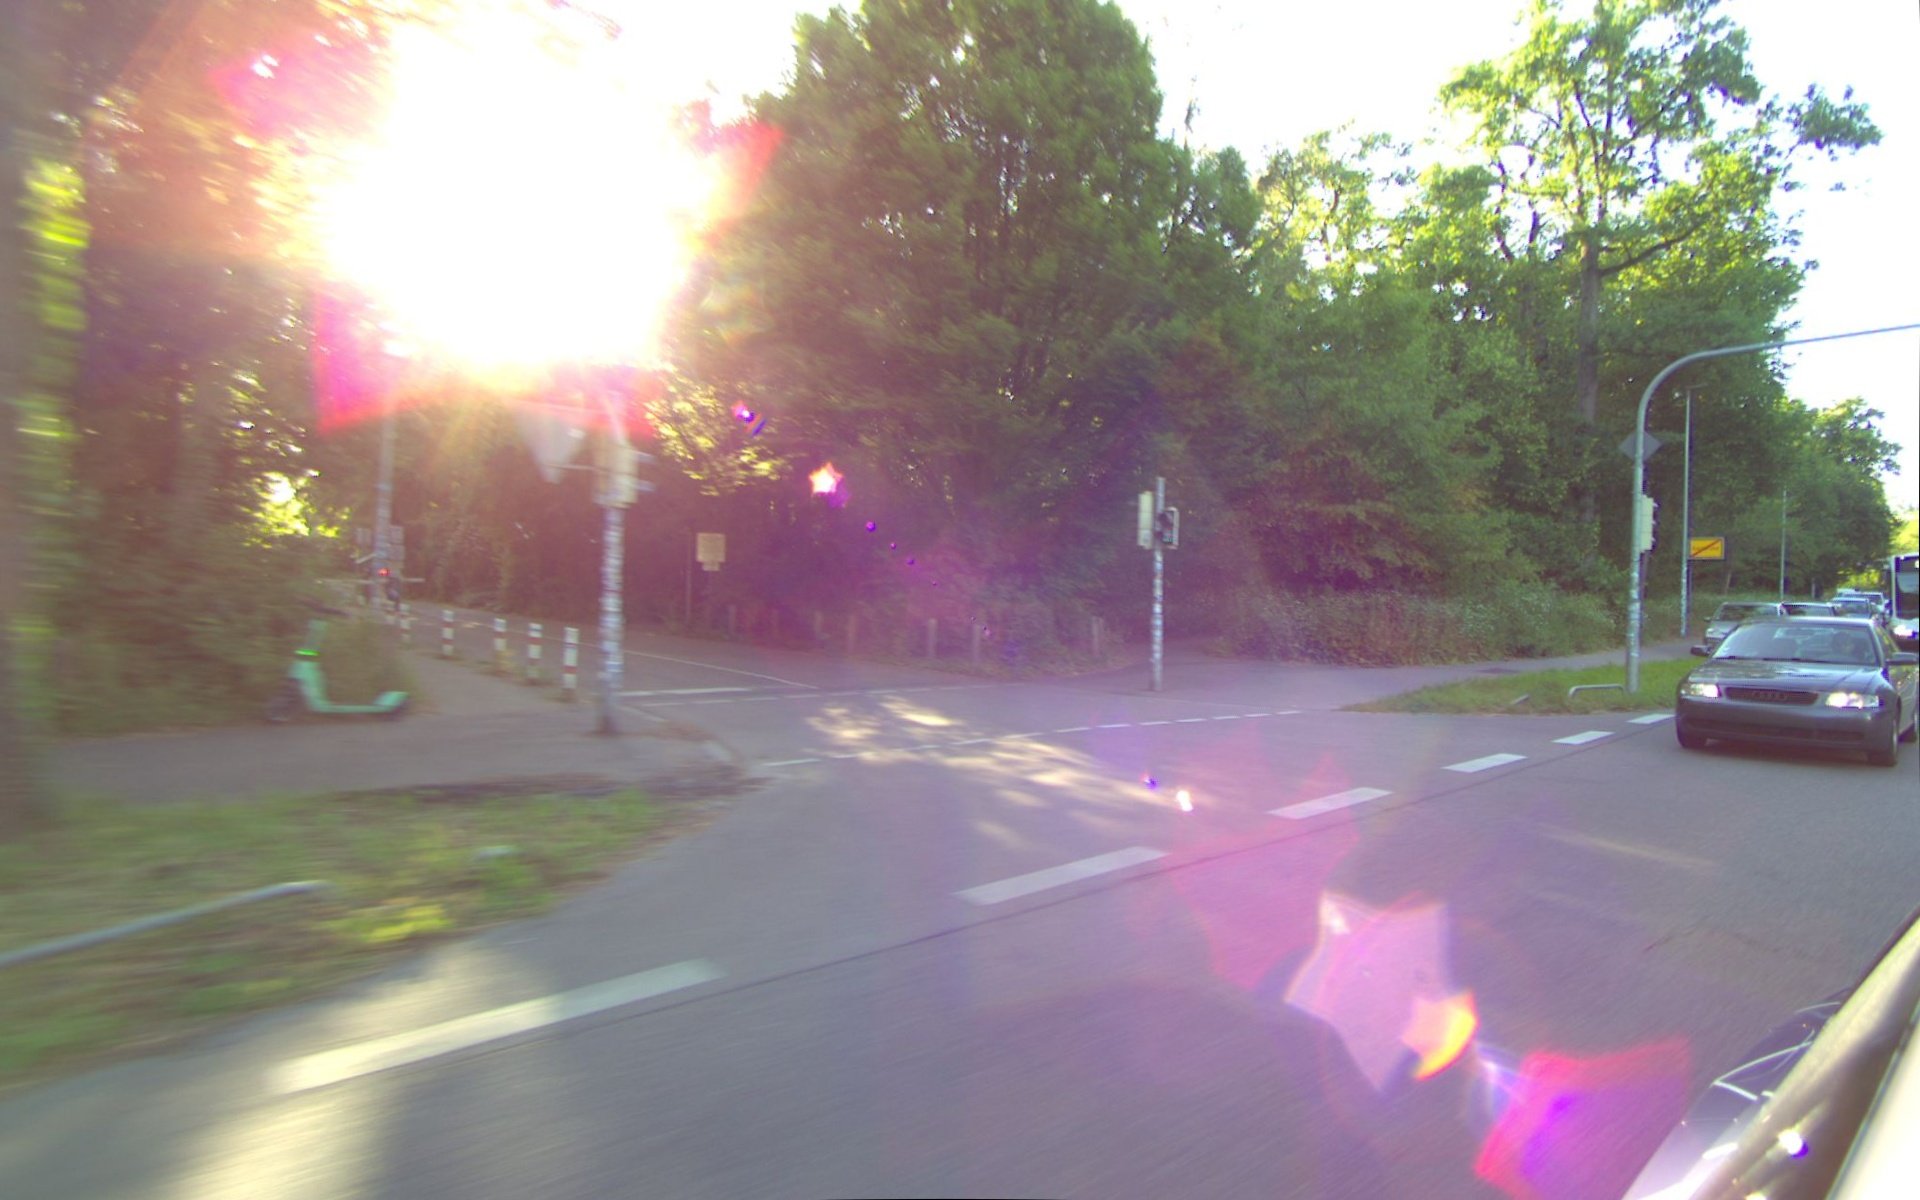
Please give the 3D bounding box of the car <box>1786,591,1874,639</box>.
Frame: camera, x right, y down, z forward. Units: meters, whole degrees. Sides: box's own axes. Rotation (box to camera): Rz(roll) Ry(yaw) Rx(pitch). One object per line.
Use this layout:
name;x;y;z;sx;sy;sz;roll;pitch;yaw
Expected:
car;29.061;0.463;33.772;4.158;1.421;1.675;-1;3;-42

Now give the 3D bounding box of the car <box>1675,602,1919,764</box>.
car;9.166;0.733;10.832;3.926;1.376;1.677;0;1;-42

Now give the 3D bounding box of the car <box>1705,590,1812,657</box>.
car;20.563;0.542;26.007;1.719;1.487;3.812;3;3;44

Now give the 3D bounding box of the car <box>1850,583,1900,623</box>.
car;46.906;0.086;51.823;1.814;1.945;5.185;0;1;43

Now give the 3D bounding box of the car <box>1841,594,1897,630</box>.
car;40.418;0.477;44.985;1.814;1.497;3.770;0;1;43

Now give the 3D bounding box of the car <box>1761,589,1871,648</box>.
car;24.983;0.473;29.473;5.029;1.487;1.765;-1;3;-42

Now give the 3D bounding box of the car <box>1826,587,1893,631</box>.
car;36.656;0.317;41.225;1.816;1.654;3.768;3;3;45

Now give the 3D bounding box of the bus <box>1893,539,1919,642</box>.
bus;33.791;-0.278;34.073;12.673;3.086;2.807;0;0;-44

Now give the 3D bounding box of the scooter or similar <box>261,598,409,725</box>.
scooter or similar;-6.077;0.569;9.864;1.200;1.158;0.379;0;1;-35
